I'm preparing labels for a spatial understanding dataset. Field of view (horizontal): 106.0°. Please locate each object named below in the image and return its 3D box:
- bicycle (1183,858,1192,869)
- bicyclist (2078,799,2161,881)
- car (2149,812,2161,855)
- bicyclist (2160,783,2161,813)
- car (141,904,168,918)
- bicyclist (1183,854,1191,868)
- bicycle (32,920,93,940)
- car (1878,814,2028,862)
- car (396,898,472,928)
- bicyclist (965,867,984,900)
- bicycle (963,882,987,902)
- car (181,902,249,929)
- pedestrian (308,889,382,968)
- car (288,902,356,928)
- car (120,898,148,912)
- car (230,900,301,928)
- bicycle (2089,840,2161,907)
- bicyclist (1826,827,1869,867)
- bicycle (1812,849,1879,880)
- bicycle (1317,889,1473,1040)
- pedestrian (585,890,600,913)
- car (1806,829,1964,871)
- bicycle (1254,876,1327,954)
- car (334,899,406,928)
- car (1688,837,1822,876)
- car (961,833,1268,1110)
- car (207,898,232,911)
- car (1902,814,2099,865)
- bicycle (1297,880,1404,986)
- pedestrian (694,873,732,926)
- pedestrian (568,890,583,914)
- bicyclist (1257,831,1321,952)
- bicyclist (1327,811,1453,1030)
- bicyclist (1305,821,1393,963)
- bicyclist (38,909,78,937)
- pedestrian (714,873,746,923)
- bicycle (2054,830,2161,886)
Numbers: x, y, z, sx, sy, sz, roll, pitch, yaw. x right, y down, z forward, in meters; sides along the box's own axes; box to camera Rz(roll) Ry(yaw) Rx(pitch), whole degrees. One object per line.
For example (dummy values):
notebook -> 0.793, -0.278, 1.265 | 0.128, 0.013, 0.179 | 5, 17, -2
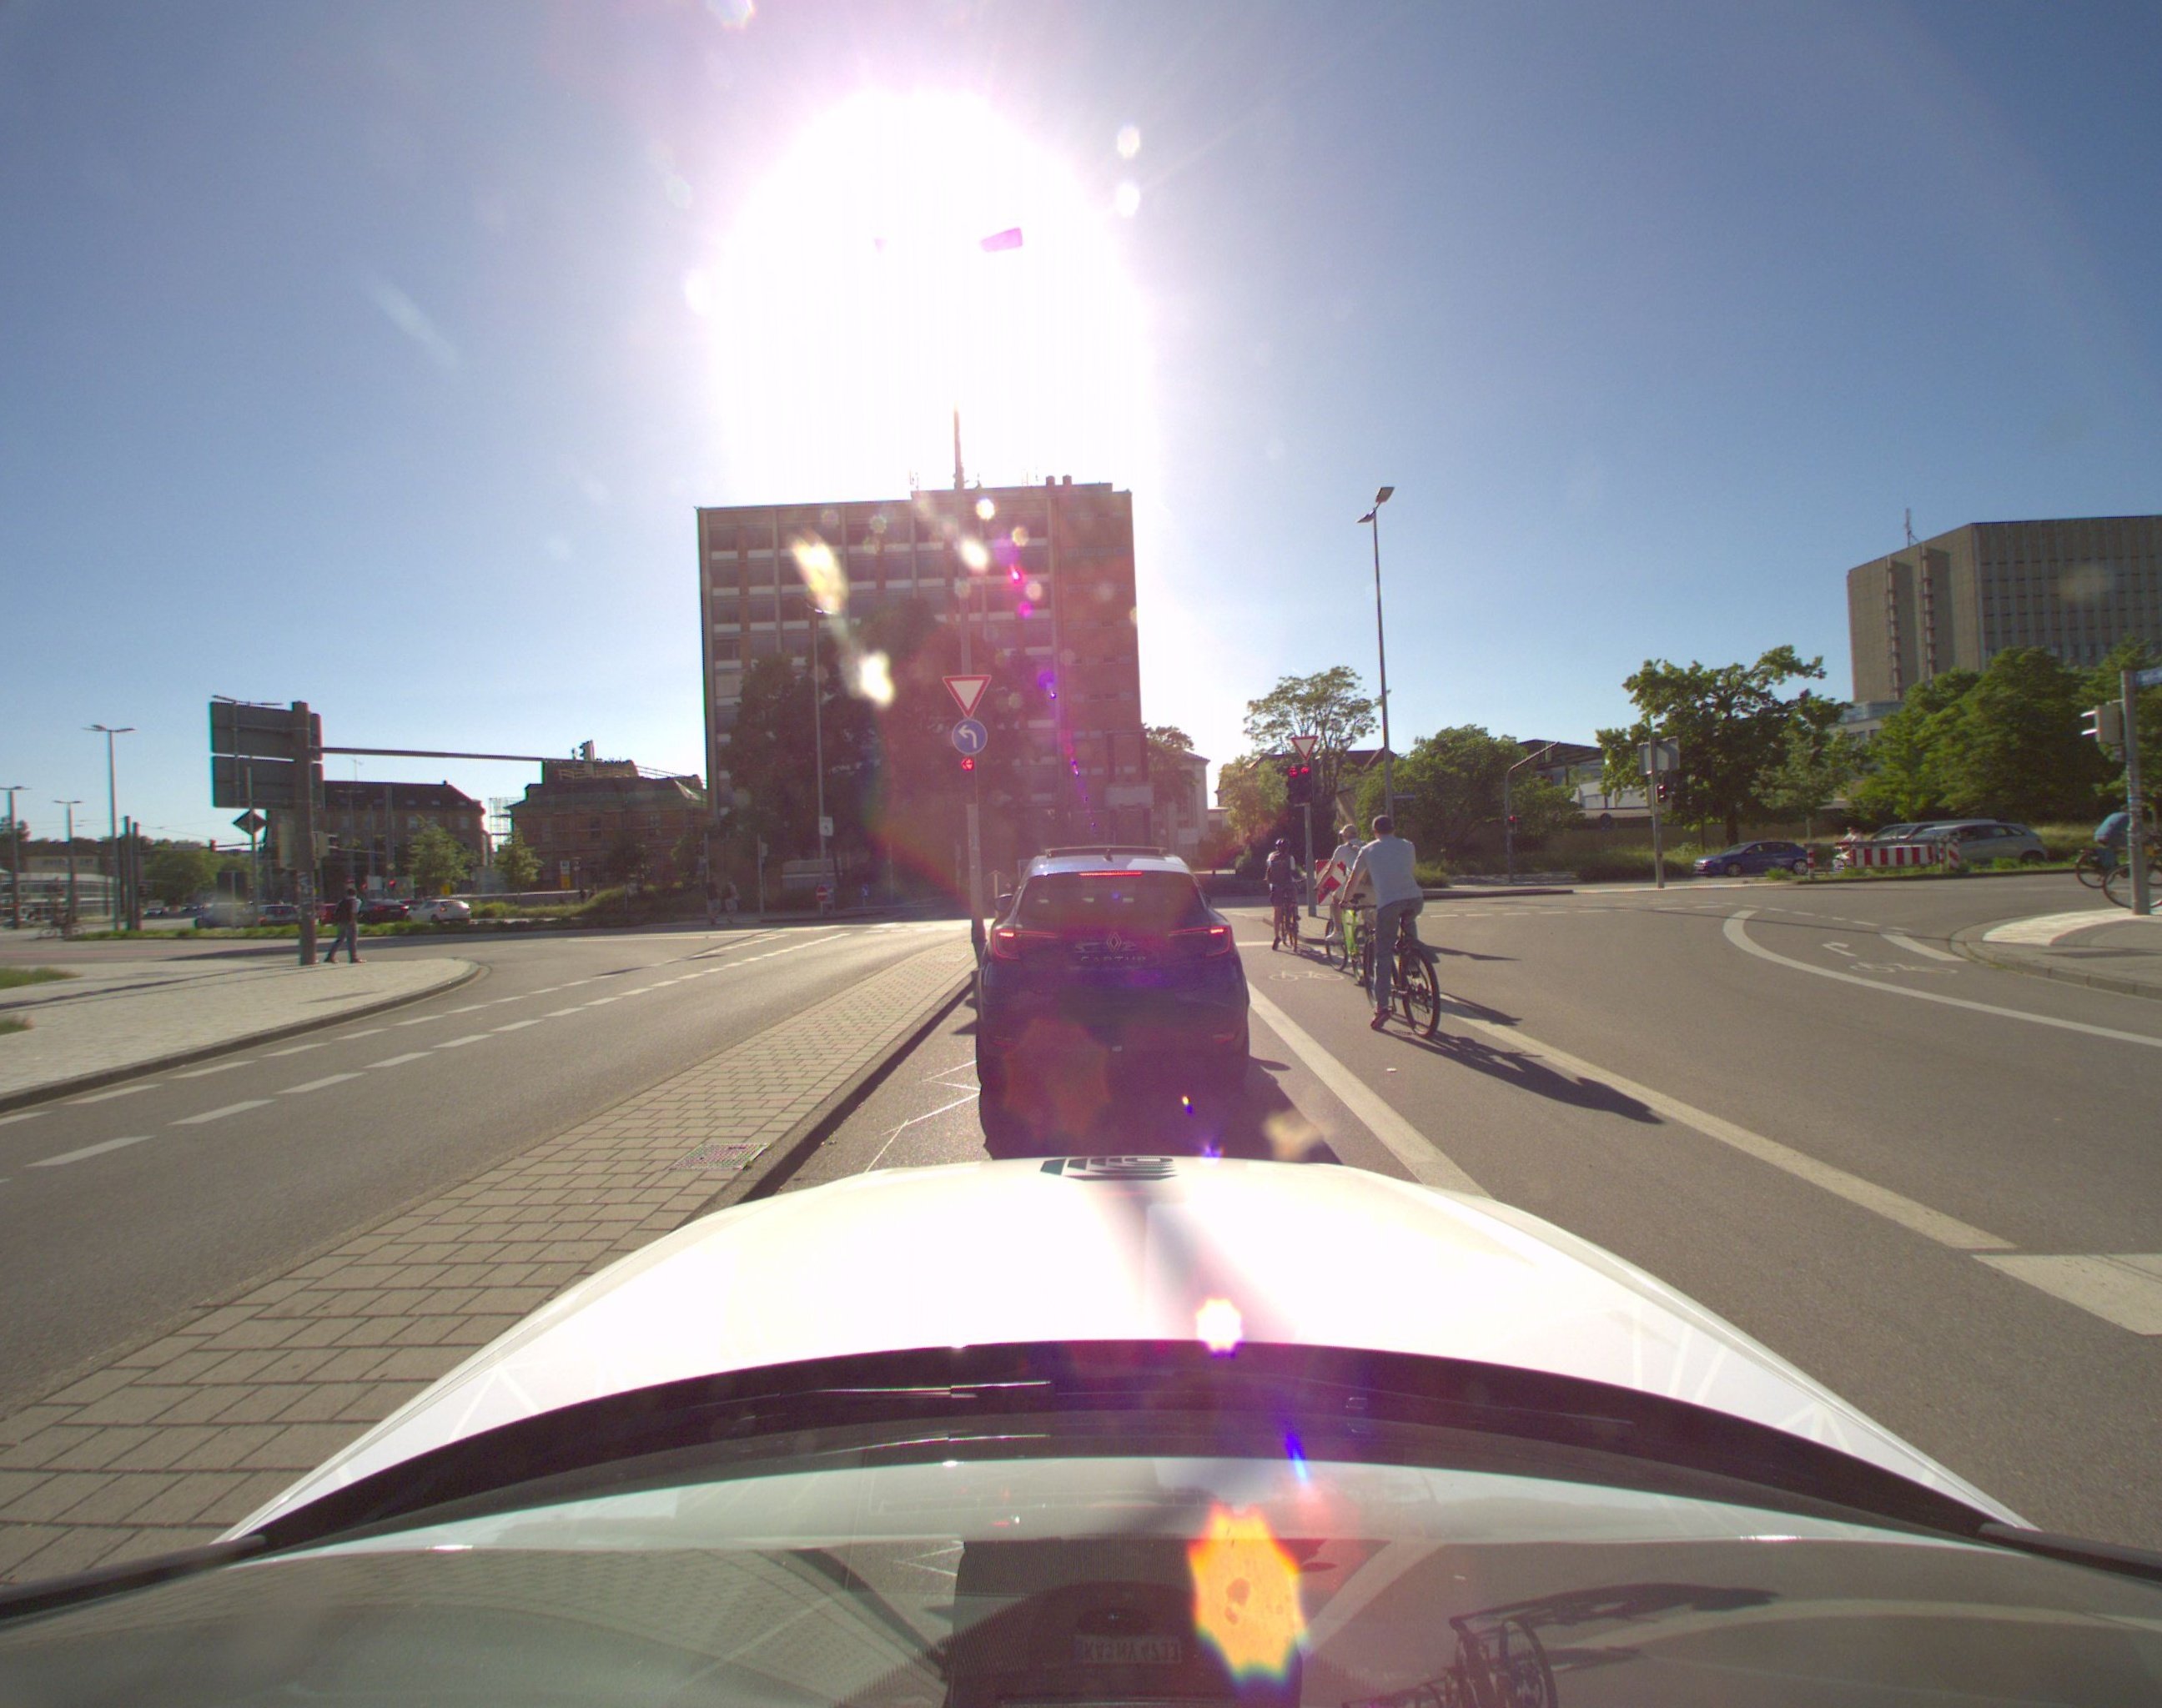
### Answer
bicycle -> 11.403, 1.061, 87.320 | 0.692, 1.140, 2.441 | -2, 0, 1
bicyclist -> 20.471, -0.268, 15.897 | 1.045, 1.513, 0.643 | -4, -1, 9
car -> 36.903, -0.762, 25.335 | 4.534, 1.398, 1.798 | -2, -1, 7
bicyclist -> 16.029, -0.226, 11.475 | 0.635, 1.646, 0.903 | -2, -1, -39
car -> -143.071, 8.813, 125.820 | 2.010, 2.013, 3.954 | -2, -1, -38
bicyclist -> 11.389, 0.738, 87.295 | 0.692, 1.481, 0.717 | -2, -1, 2
bicycle -> -65.743, 4.917, 52.590 | 0.800, 1.062, 2.434 | -1, -1, 41
car -> 35.872, -0.618, 33.611 | 3.965, 1.749, 1.798 | -2, -1, 7
car -> -36.394, 3.332, 45.834 | 3.834, 1.508, 1.805 | -3, -1, 25
bicyclist -> -5.760, 1.607, 44.071 | 0.751, 1.716, 1.001 | -2, -1, 7
bicycle -> -5.727, 2.041, 44.172 | 0.751, 0.985, 2.098 | -2, 0, 8
car -> -54.914, 3.886, 51.634 | 3.834, 1.508, 1.805 | -3, -1, 25
pedestrian -> -17.297, 1.732, 19.168 | 0.647, 1.730, 1.066 | -3, -1, 15
car -> -48.207, 3.865, 51.707 | 3.834, 1.508, 1.805 | -3, -1, 25
car -> -152.954, 8.278, 131.600 | 2.008, 2.014, 3.956 | 0, -1, -35
car -> -48.864, 3.599, 48.803 | 3.834, 1.508, 1.805 | -3, -1, 25
bicycle -> 15.917, 0.267, 11.628 | 0.640, 0.958, 1.866 | -2, -1, -39
bicyclist -> 27.125, -0.240, 28.821 | 0.870, 1.343, 0.612 | -2, -1, 7
bicycle -> 27.047, 0.379, 28.826 | 1.673, 1.033, 0.612 | -2, -1, 7
bicycle -> 2.717, 0.897, 7.286 | 0.687, 1.089, 1.923 | -1, 0, 2
pedestrian -> -39.478, 3.834, 65.793 | 0.678, 1.730, 0.761 | -2, -1, -1
car -> 30.298, -0.136, 30.796 | 3.965, 1.398, 1.798 | -2, -1, 7
bicycle -> 3.260, 0.914, 12.822 | 0.687, 1.089, 1.923 | -1, 0, 2
car -> -42.551, 3.559, 48.738 | 3.834, 1.508, 1.805 | -3, -1, 25
car -> 28.136, 0.105, 34.110 | 3.965, 1.398, 1.798 | -2, -1, 7
car -> 0.201, 0.703, 6.768 | 1.783, 1.585, 3.913 | -1, 0, 0
car -> -151.001, 8.881, 142.773 | 1.797, 2.013, 3.963 | -2, -1, -29
car -> 29.222, -0.434, 26.005 | 3.965, 1.398, 1.798 | -2, -1, 7
bicycle -> 3.190, 0.888, 9.820 | 0.687, 1.089, 1.923 | -1, 0, 2
pedestrian -> -13.604, 1.670, 30.095 | 0.807, 1.862, 0.913 | -3, -1, 15
pedestrian -> -38.892, 3.692, 62.678 | 0.680, 1.730, 0.759 | -2, -1, -7
bicyclist -> 3.220, 0.557, 12.678 | 0.697, 1.791, 1.142 | -1, -1, 2
bicyclist -> 2.719, 0.552, 7.282 | 0.680, 1.791, 1.142 | -1, -1, 2
bicyclist -> 3.180, 0.430, 9.770 | 0.676, 1.594, 1.142 | -1, -1, 2
bicyclist -> -65.854, 4.432, 52.454 | 0.800, 1.634, 1.586 | -1, -1, 40
pedestrian -> -12.816, 1.595, 29.716 | 0.675, 1.730, 0.764 | -3, -1, 15
bicycle -> 20.462, 0.069, 15.892 | 1.887, 0.973, 0.651 | -4, -1, 9
